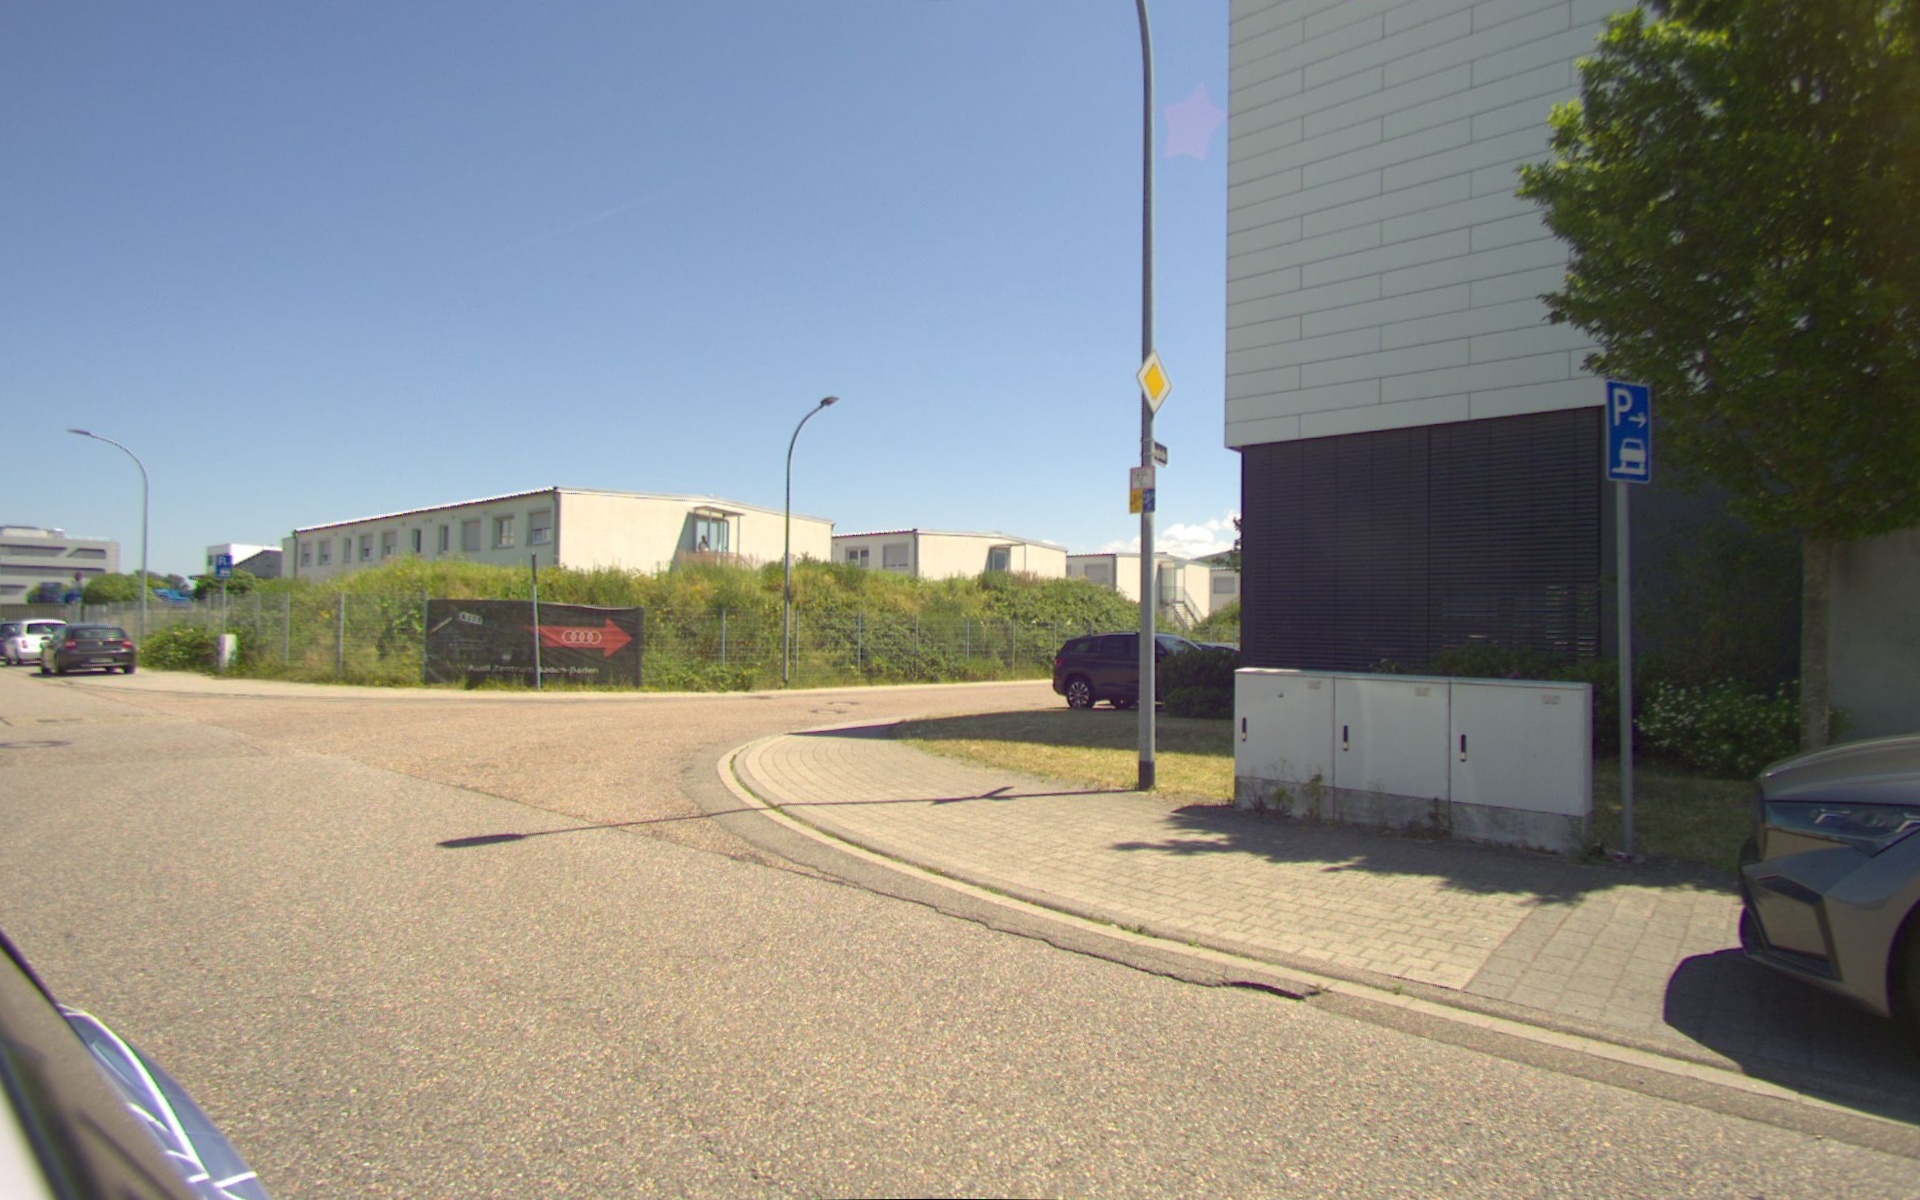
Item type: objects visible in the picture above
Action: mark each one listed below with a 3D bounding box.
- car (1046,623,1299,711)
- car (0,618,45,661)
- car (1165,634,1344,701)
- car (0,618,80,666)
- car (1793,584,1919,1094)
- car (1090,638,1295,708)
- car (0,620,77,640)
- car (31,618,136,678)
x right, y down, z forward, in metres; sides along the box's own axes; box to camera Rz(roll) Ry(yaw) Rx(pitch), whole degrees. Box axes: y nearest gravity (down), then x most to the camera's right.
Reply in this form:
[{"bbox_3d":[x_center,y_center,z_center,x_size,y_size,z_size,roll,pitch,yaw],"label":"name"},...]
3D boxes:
[{"bbox_3d":[4.260,1.447,20.920,4.902,1.605,1.785,-5,-7,43],"label":"car"},{"bbox_3d":[-36.475,1.477,38.754,3.907,1.541,1.657,0,-1,41],"label":"car"},{"bbox_3d":[7.325,1.720,25.389,3.933,1.535,1.661,-5,-5,43],"label":"car"},{"bbox_3d":[-31.496,1.405,34.537,3.755,1.541,1.656,0,-2,41],"label":"car"},{"bbox_3d":[5.108,0.732,2.625,4.476,1.600,1.753,-1,-2,39],"label":"car"},{"bbox_3d":[5.268,1.702,23.342,4.254,1.458,1.785,-5,-5,43],"label":"car"},{"bbox_3d":[-64.602,2.100,70.678,1.862,1.390,4.201,-1,-3,42],"label":"car"},{"bbox_3d":[-24.717,1.299,28.499,4.066,1.461,1.657,0,1,41],"label":"car"}]
